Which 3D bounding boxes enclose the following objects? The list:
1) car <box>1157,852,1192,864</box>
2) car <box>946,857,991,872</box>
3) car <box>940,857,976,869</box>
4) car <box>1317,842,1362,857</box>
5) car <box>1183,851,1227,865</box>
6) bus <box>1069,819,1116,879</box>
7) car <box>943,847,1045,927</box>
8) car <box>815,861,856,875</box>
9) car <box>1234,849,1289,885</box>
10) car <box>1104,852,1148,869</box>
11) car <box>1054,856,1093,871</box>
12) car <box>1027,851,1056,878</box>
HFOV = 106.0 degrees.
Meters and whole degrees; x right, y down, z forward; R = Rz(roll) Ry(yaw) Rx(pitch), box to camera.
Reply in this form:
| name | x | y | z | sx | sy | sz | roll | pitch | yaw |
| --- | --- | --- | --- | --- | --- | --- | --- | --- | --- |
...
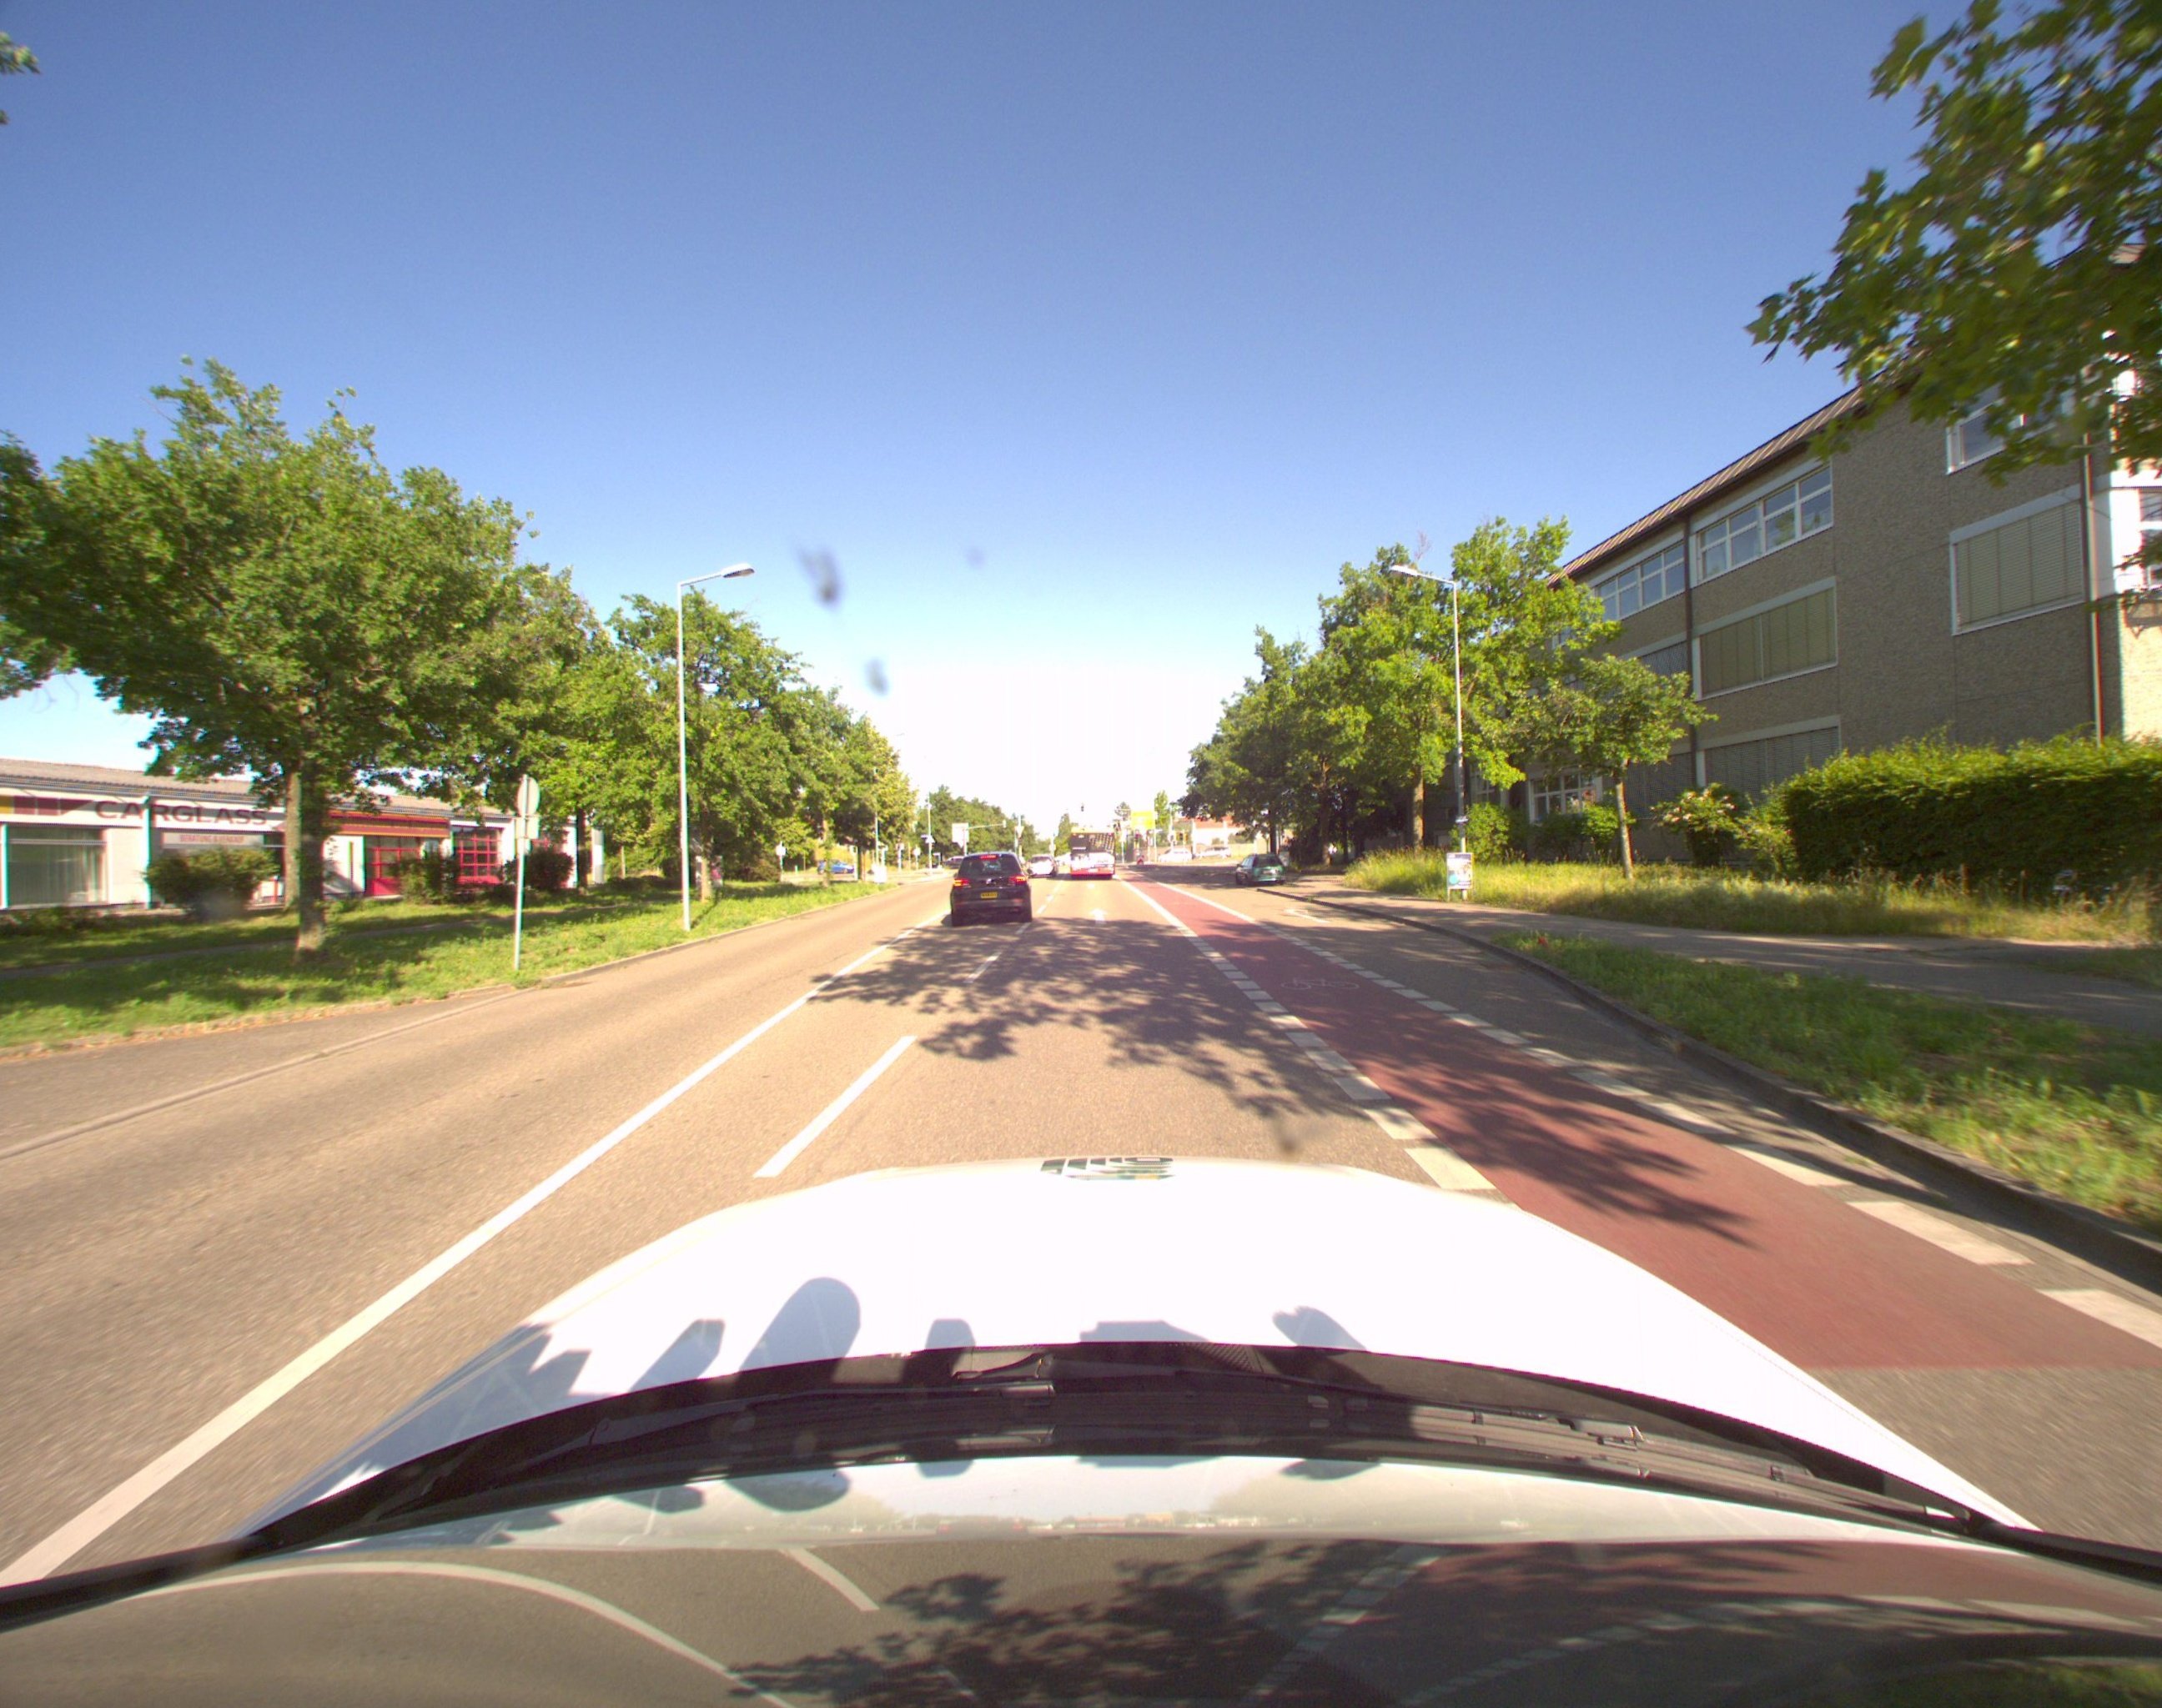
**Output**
| name | x | y | z | sx | sy | sz | roll | pitch | yaw |
| --- | --- | --- | --- | --- | --- | --- | --- | --- | --- |
| car | 11.108 | 0.506 | 97.130 | 3.840 | 1.340 | 1.679 | 0 | -1 | -5 |
| car | -10.908 | 1.015 | 78.922 | 4.214 | 1.480 | 1.760 | 0 | -1 | -5 |
| car | -13.713 | 0.992 | 90.701 | 3.890 | 1.340 | 1.678 | 0 | -1 | -9 |
| car | 30.387 | -0.534 | 95.826 | 4.692 | 1.540 | 1.997 | -1 | 0 | -4 |
| car | 14.406 | 0.464 | 94.412 | 4.696 | 1.540 | 1.996 | -1 | 0 | -6 |
| bus | 0.685 | -0.313 | 51.619 | 2.588 | 3.334 | 11.983 | -1 | 0 | 0 |
| car | -1.983 | 0.735 | 19.657 | 1.814 | 1.673 | 4.005 | -2 | -1 | 2 |
| car | -25.322 | 1.409 | 83.985 | 3.844 | 1.385 | 1.678 | 0 | -1 | -9 |
| car | 8.084 | 0.563 | 36.789 | 1.587 | 1.428 | 4.204 | -3 | 0 | 1 |
| car | 3.718 | 0.515 | 67.036 | 3.502 | 1.302 | 1.579 | -1 | 0 | 8 |
| car | -0.845 | 1.070 | 92.324 | 4.375 | 1.683 | 1.709 | 0 | -1 | -5 |
| car | -2.723 | 0.687 | 55.130 | 1.751 | 1.620 | 4.026 | -2 | 1 | -6 |
